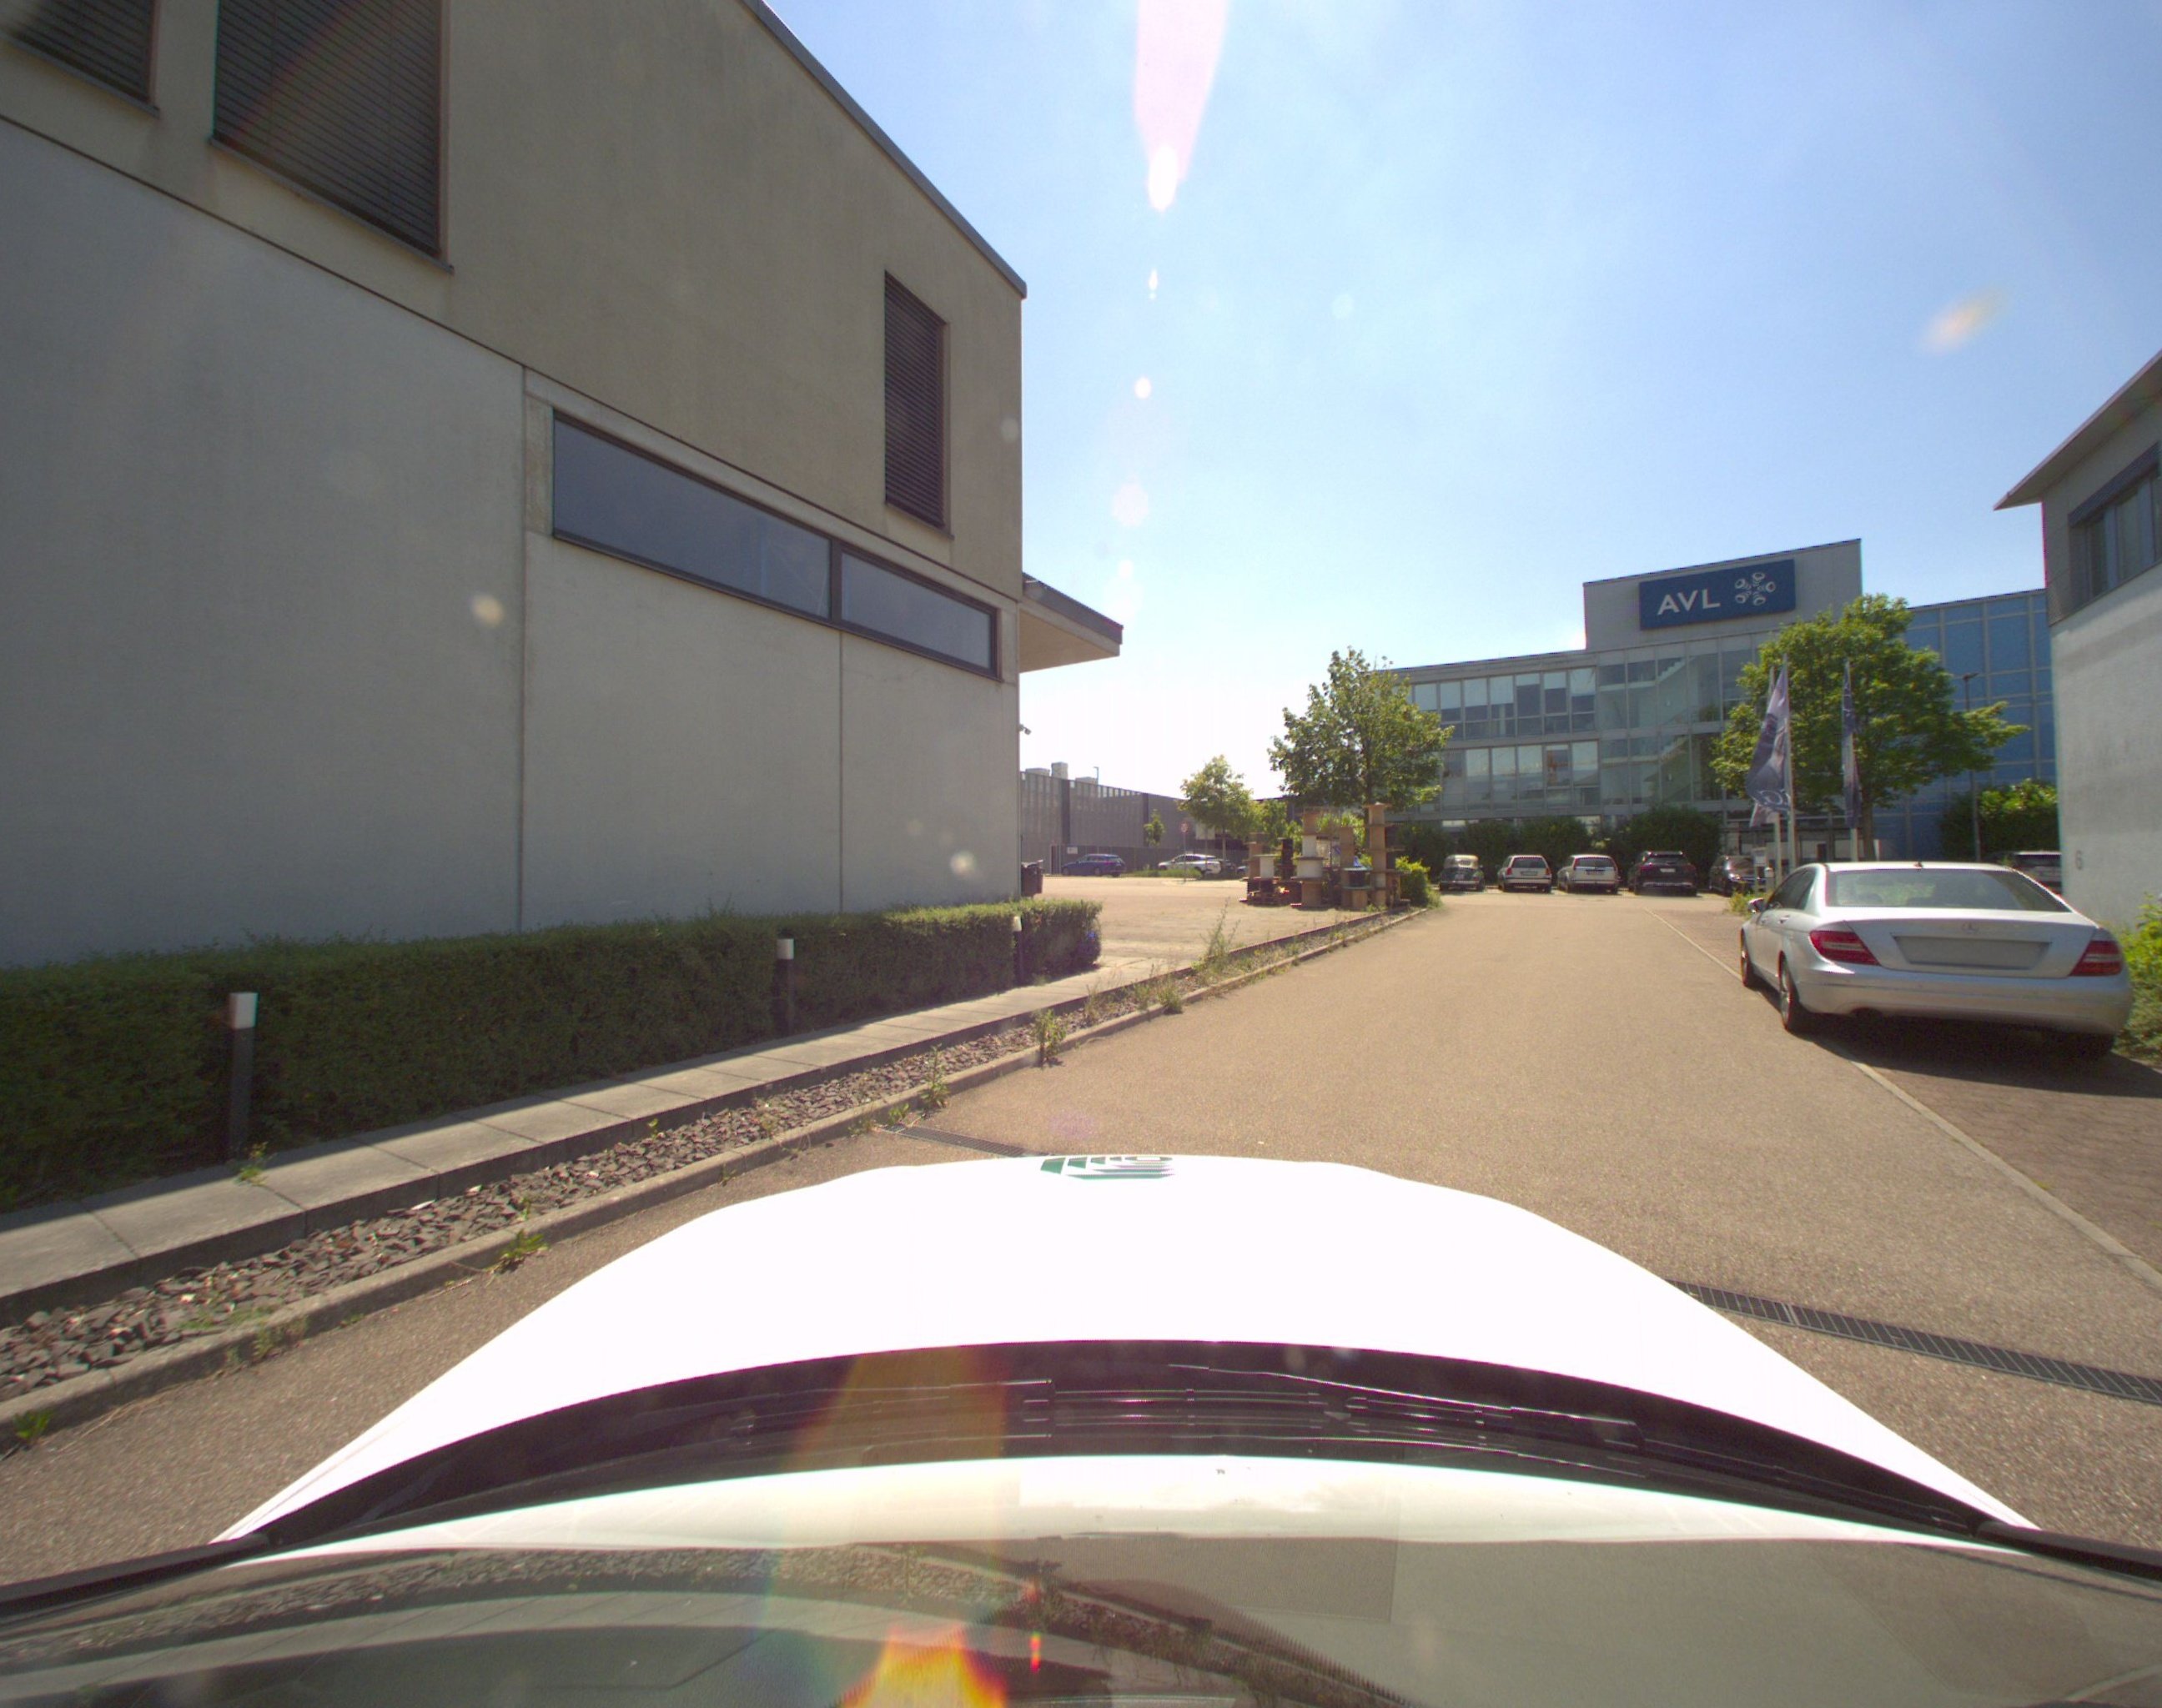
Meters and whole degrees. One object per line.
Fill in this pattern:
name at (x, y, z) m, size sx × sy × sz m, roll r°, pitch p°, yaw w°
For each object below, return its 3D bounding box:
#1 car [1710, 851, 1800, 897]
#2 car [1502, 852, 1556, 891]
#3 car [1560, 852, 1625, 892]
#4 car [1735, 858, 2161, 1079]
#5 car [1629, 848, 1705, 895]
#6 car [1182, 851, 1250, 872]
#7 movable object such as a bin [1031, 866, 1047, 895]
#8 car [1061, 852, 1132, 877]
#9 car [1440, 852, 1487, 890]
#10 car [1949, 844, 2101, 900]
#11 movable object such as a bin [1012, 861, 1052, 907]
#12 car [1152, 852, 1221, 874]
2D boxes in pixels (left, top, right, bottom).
car at (24.224, 0.668, 29.425) m, size 1.753 × 1.482 × 4.285 m, roll -1°, pitch 0°, yaw 30°
car at (17.947, 0.662, 32.750) m, size 1.716 × 1.449 × 3.675 m, roll 0°, pitch 1°, yaw 25°
car at (20.051, 0.656, 32.042) m, size 1.749 × 1.449 × 3.675 m, roll 0°, pitch 1°, yaw 25°
car at (7.375, 0.753, 7.470) m, size 1.782 × 1.398 × 4.447 m, roll -1°, pitch -1°, yaw 34°
car at (22.004, 0.597, 30.712) m, size 1.909 × 1.610 × 4.011 m, roll 0°, pitch 1°, yaw 30°
car at (10.128, 0.570, 61.474) m, size 4.794 × 1.491 × 2.012 m, roll 0°, pitch 1°, yaw 45°
movable object such as a bin at (-1.511, 0.948, 29.399) m, size 0.575 × 1.036 × 0.425 m, roll -1°, pitch -1°, yaw -2°
car at (0.959, 0.655, 52.309) m, size 4.459 × 1.491 × 2.012 m, roll 0°, pitch 1°, yaw 45°
car at (15.857, 0.653, 33.666) m, size 1.527 × 1.449 × 3.676 m, roll 0°, pitch 1°, yaw 29°
car at (29.935, 0.528, 26.012) m, size 1.802 × 1.619 × 4.366 m, roll -1°, pitch 0°, yaw 30°
movable object such as a bin at (-1.464, 0.888, 24.516) m, size 0.803 × 1.345 × 0.890 m, roll -1°, pitch -1°, yaw 37°
car at (7.696, 0.610, 59.558) m, size 4.794 × 1.491 × 2.012 m, roll 0°, pitch 1°, yaw 45°
